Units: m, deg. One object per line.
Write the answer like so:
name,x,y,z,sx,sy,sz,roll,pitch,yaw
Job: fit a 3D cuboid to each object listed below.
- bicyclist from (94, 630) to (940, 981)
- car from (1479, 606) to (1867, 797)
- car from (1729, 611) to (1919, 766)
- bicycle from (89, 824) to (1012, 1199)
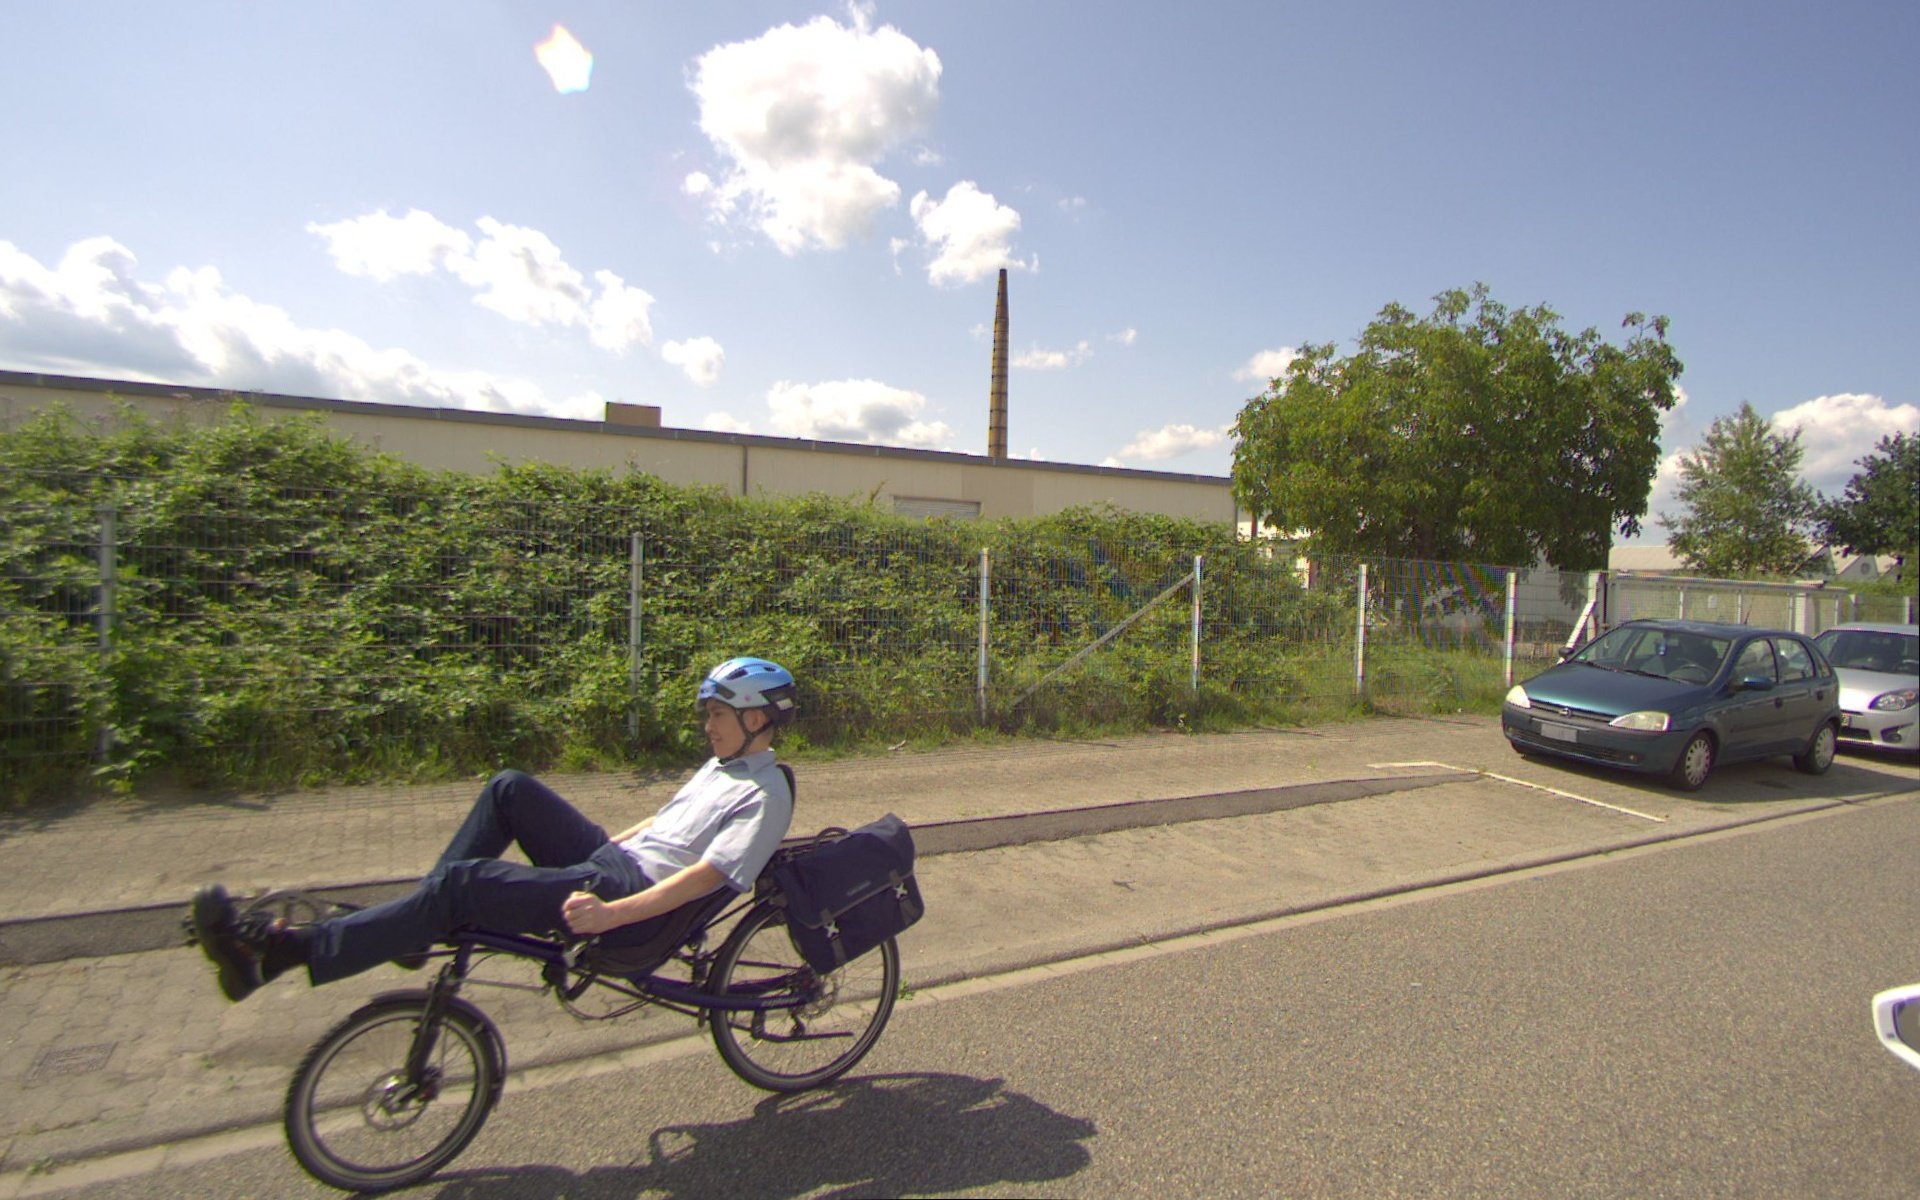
bicyclist,-1.001,0.421,2.636,1.834,0.640,0.563,1,3,-28
car,7.095,0.881,9.953,3.752,1.418,1.561,1,6,-29
car,11.112,0.965,12.123,3.667,1.503,1.607,1,4,-31
bicycle,-0.911,1.141,2.719,2.099,0.751,0.585,1,1,-29
